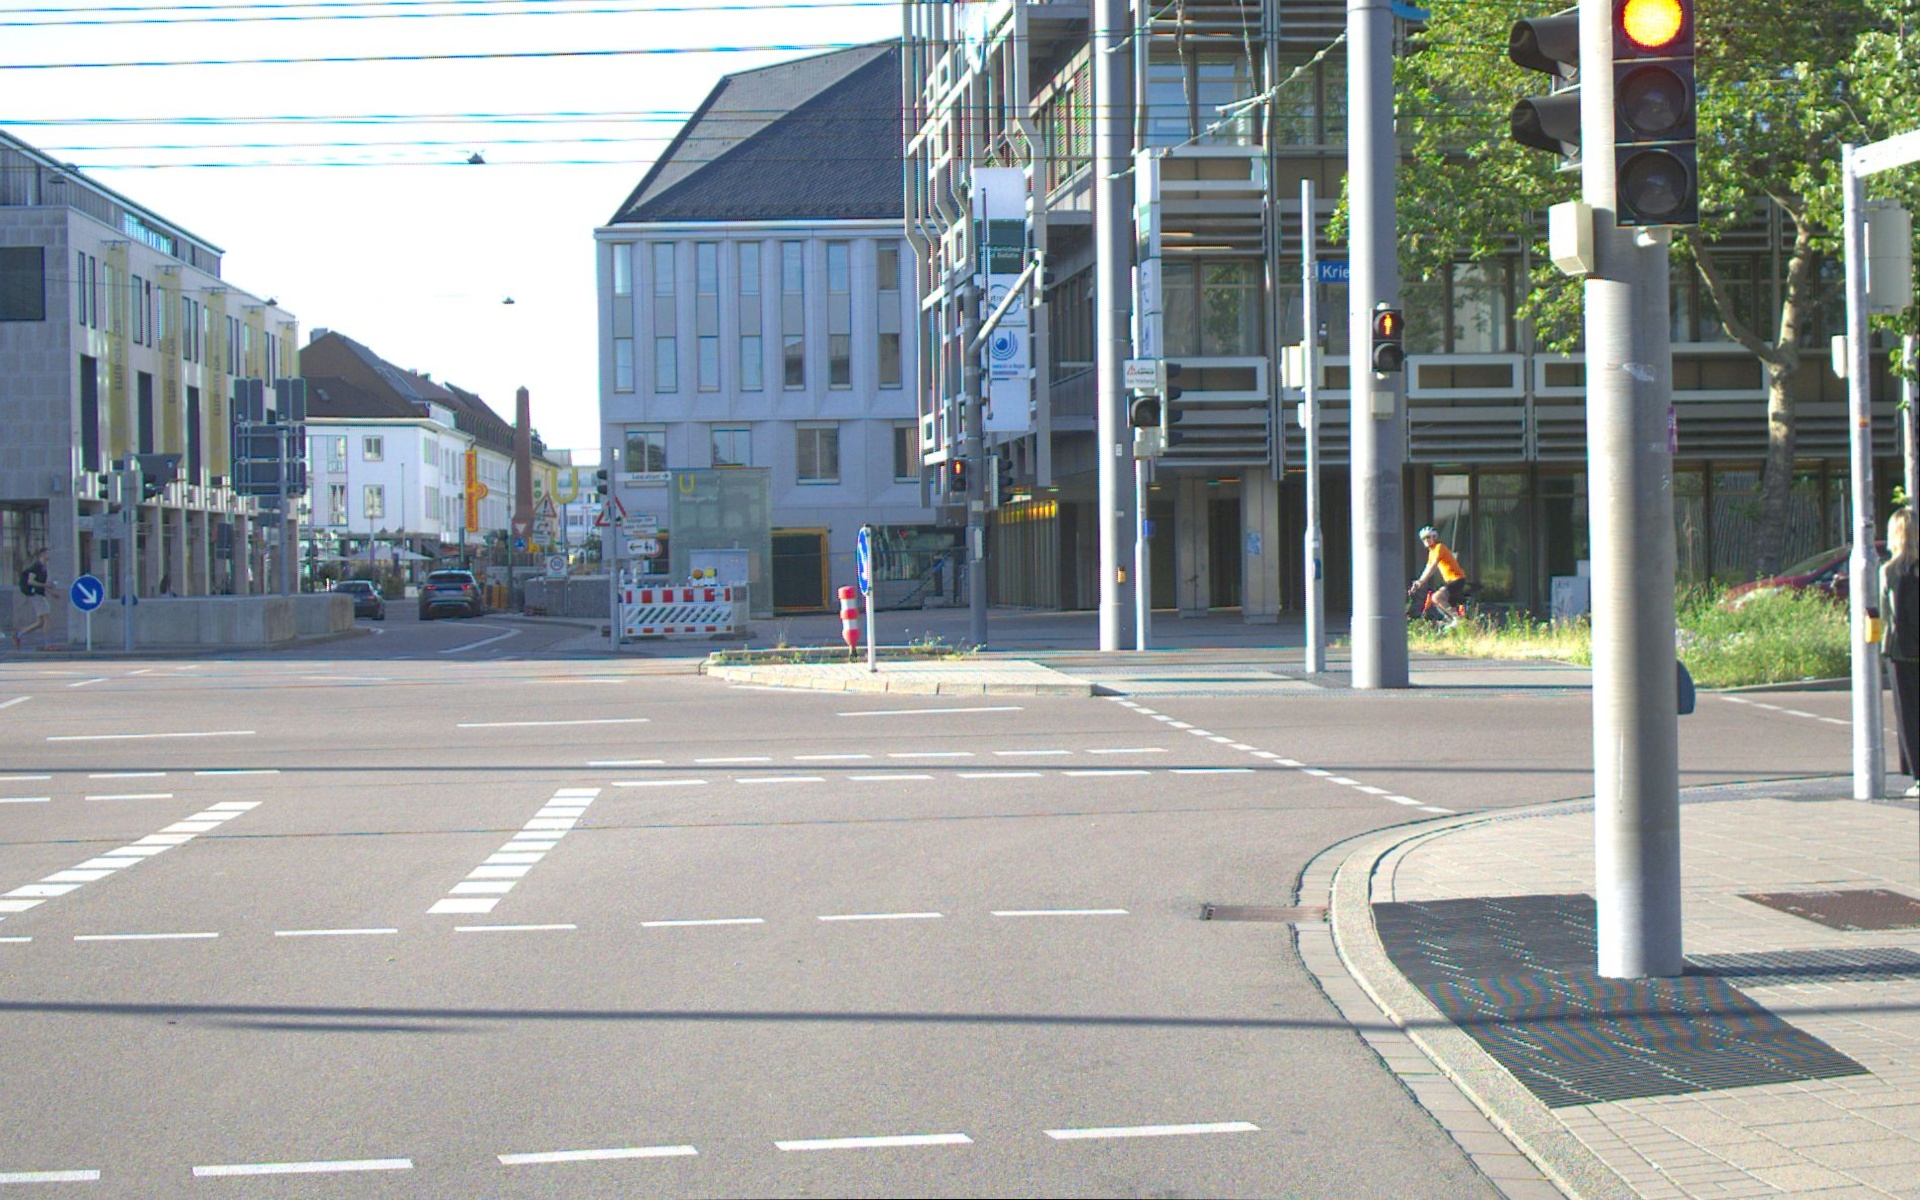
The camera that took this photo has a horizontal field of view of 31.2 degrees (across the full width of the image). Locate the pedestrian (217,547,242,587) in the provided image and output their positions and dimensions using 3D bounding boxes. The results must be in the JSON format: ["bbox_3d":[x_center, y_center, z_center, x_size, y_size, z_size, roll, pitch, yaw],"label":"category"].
[{"bbox_3d":[-29.222,-1.326,137.542,0.683,1.593,0.838,-1,1,9],"label":"pedestrian"}]

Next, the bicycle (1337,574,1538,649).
[{"bbox_3d":[6.537,0.155,47.124,2.568,0.972,1.047,-1,1,-3],"label":"bicycle"}]

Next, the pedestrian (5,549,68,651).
[{"bbox_3d":[-16.909,0.002,62.964,0.943,1.858,0.538,0,1,16],"label":"pedestrian"}]

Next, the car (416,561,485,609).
[{"bbox_3d":[-16.014,-0.482,108.083,1.658,1.453,3.542,-1,1,-1],"label":"car"}]

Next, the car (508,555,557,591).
[{"bbox_3d":[-18.137,-1.145,145.840,1.658,1.453,3.542,-1,1,-1],"label":"car"}]

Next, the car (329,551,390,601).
[{"bbox_3d":[-20.827,-0.836,119.393,1.819,1.678,4.001,-1,1,-6],"label":"car"}]

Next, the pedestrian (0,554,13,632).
[{"bbox_3d":[-22.292,-0.169,78.869,0.899,1.776,0.808,-1,1,-1],"label":"pedestrian"}]

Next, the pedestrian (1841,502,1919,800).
[{"bbox_3d":[5.379,0.264,18.993,0.765,1.608,0.874,-1,1,-2],"label":"pedestrian"}]

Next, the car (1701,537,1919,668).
[{"bbox_3d":[12.396,0.005,46.421,4.287,1.678,1.826,-1,1,-11],"label":"car"}]

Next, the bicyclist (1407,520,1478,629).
[{"bbox_3d":[6.609,-0.353,47.129,0.822,1.469,0.652,-1,1,-4],"label":"bicyclist"}]

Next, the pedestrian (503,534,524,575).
[{"bbox_3d":[-21.389,-2.160,164.690,0.910,1.958,0.823,1,0,-1],"label":"pedestrian"}]
